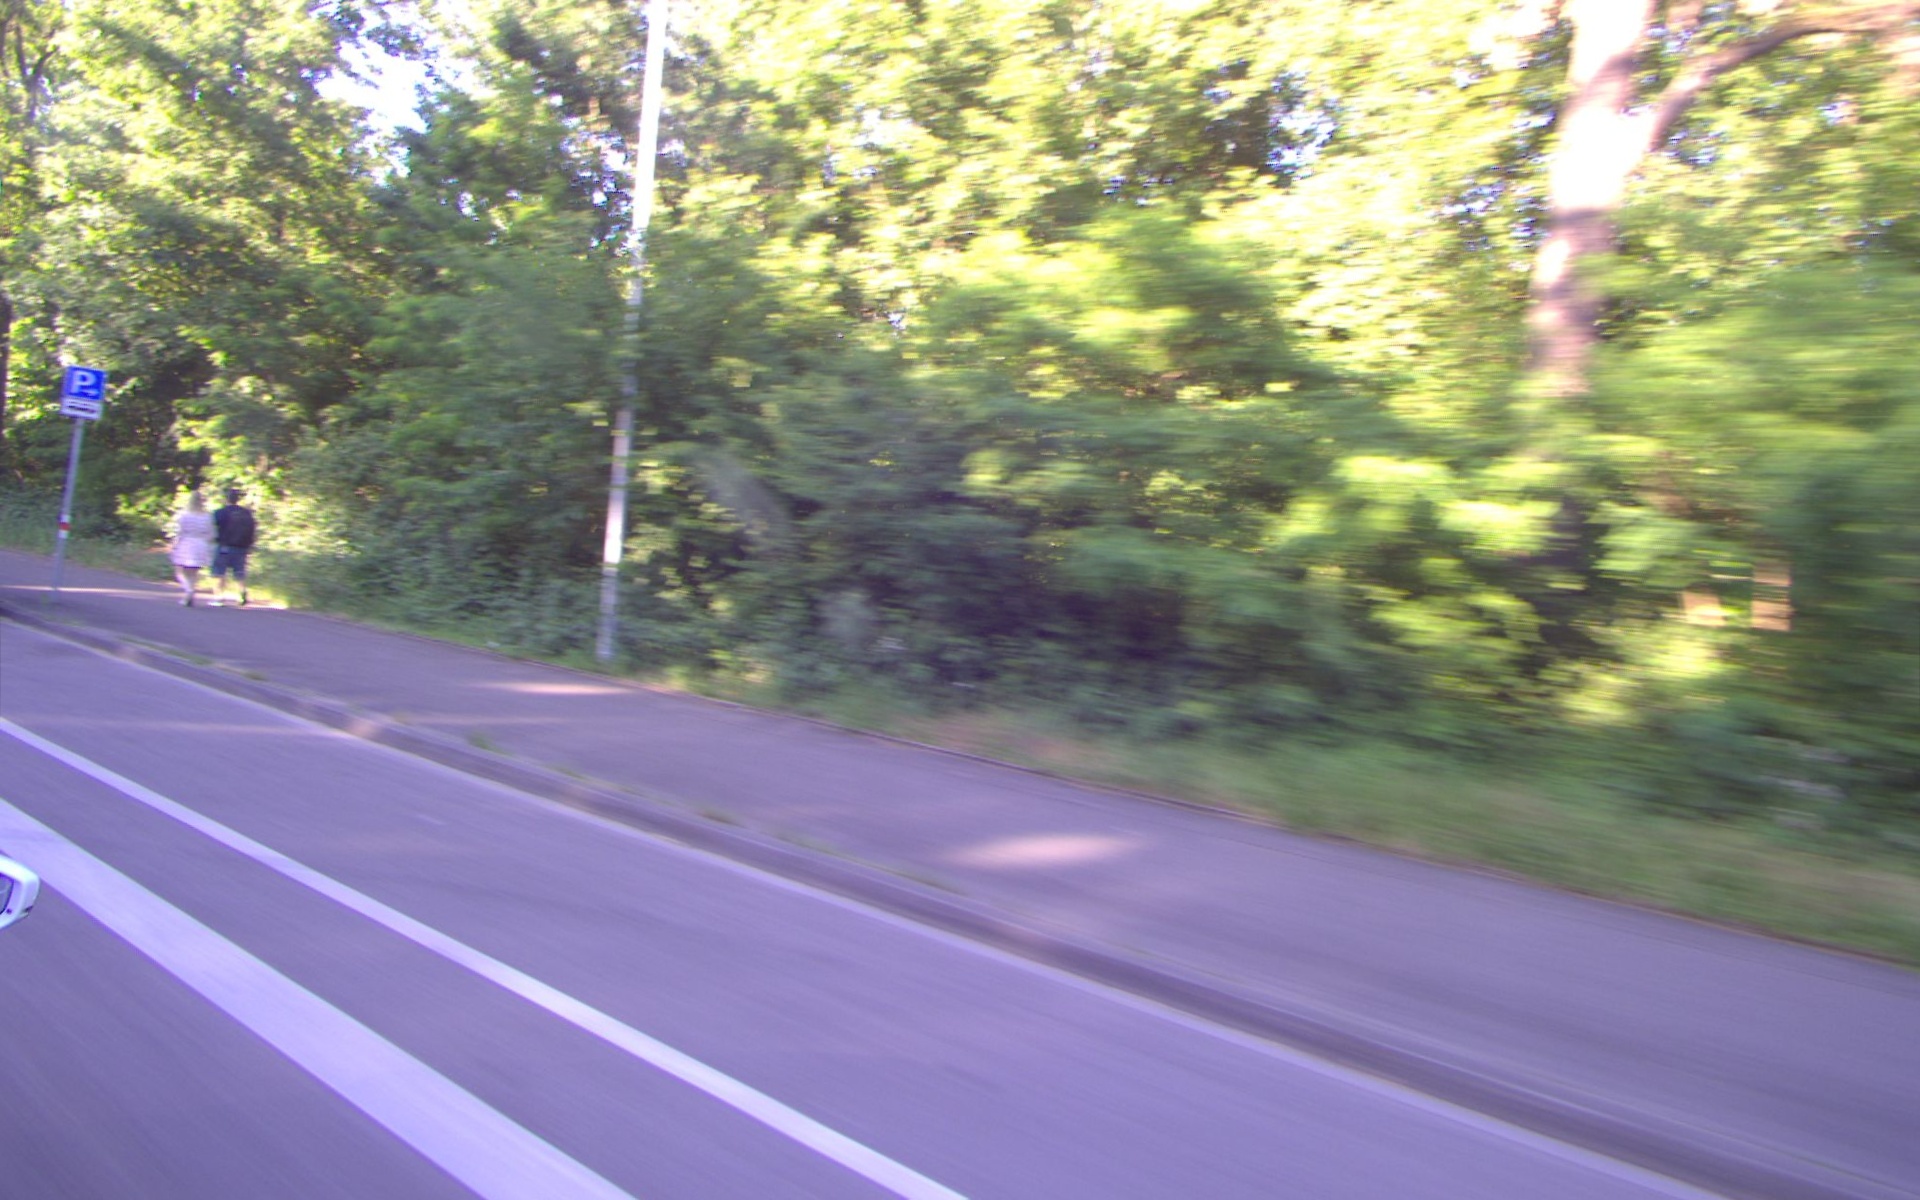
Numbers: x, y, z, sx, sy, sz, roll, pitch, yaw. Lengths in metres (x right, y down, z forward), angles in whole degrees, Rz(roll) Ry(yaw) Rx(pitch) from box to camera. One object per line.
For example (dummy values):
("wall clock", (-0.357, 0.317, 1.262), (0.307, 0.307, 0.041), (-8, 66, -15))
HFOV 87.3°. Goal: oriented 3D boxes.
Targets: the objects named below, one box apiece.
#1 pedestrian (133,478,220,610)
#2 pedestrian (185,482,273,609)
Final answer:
("pedestrian", (-11.420, -0.802, 14.664), (0.776, 1.823, 0.675), (7, 3, 28))
("pedestrian", (-11.140, -0.817, 15.336), (0.937, 1.823, 0.675), (7, 3, 28))
